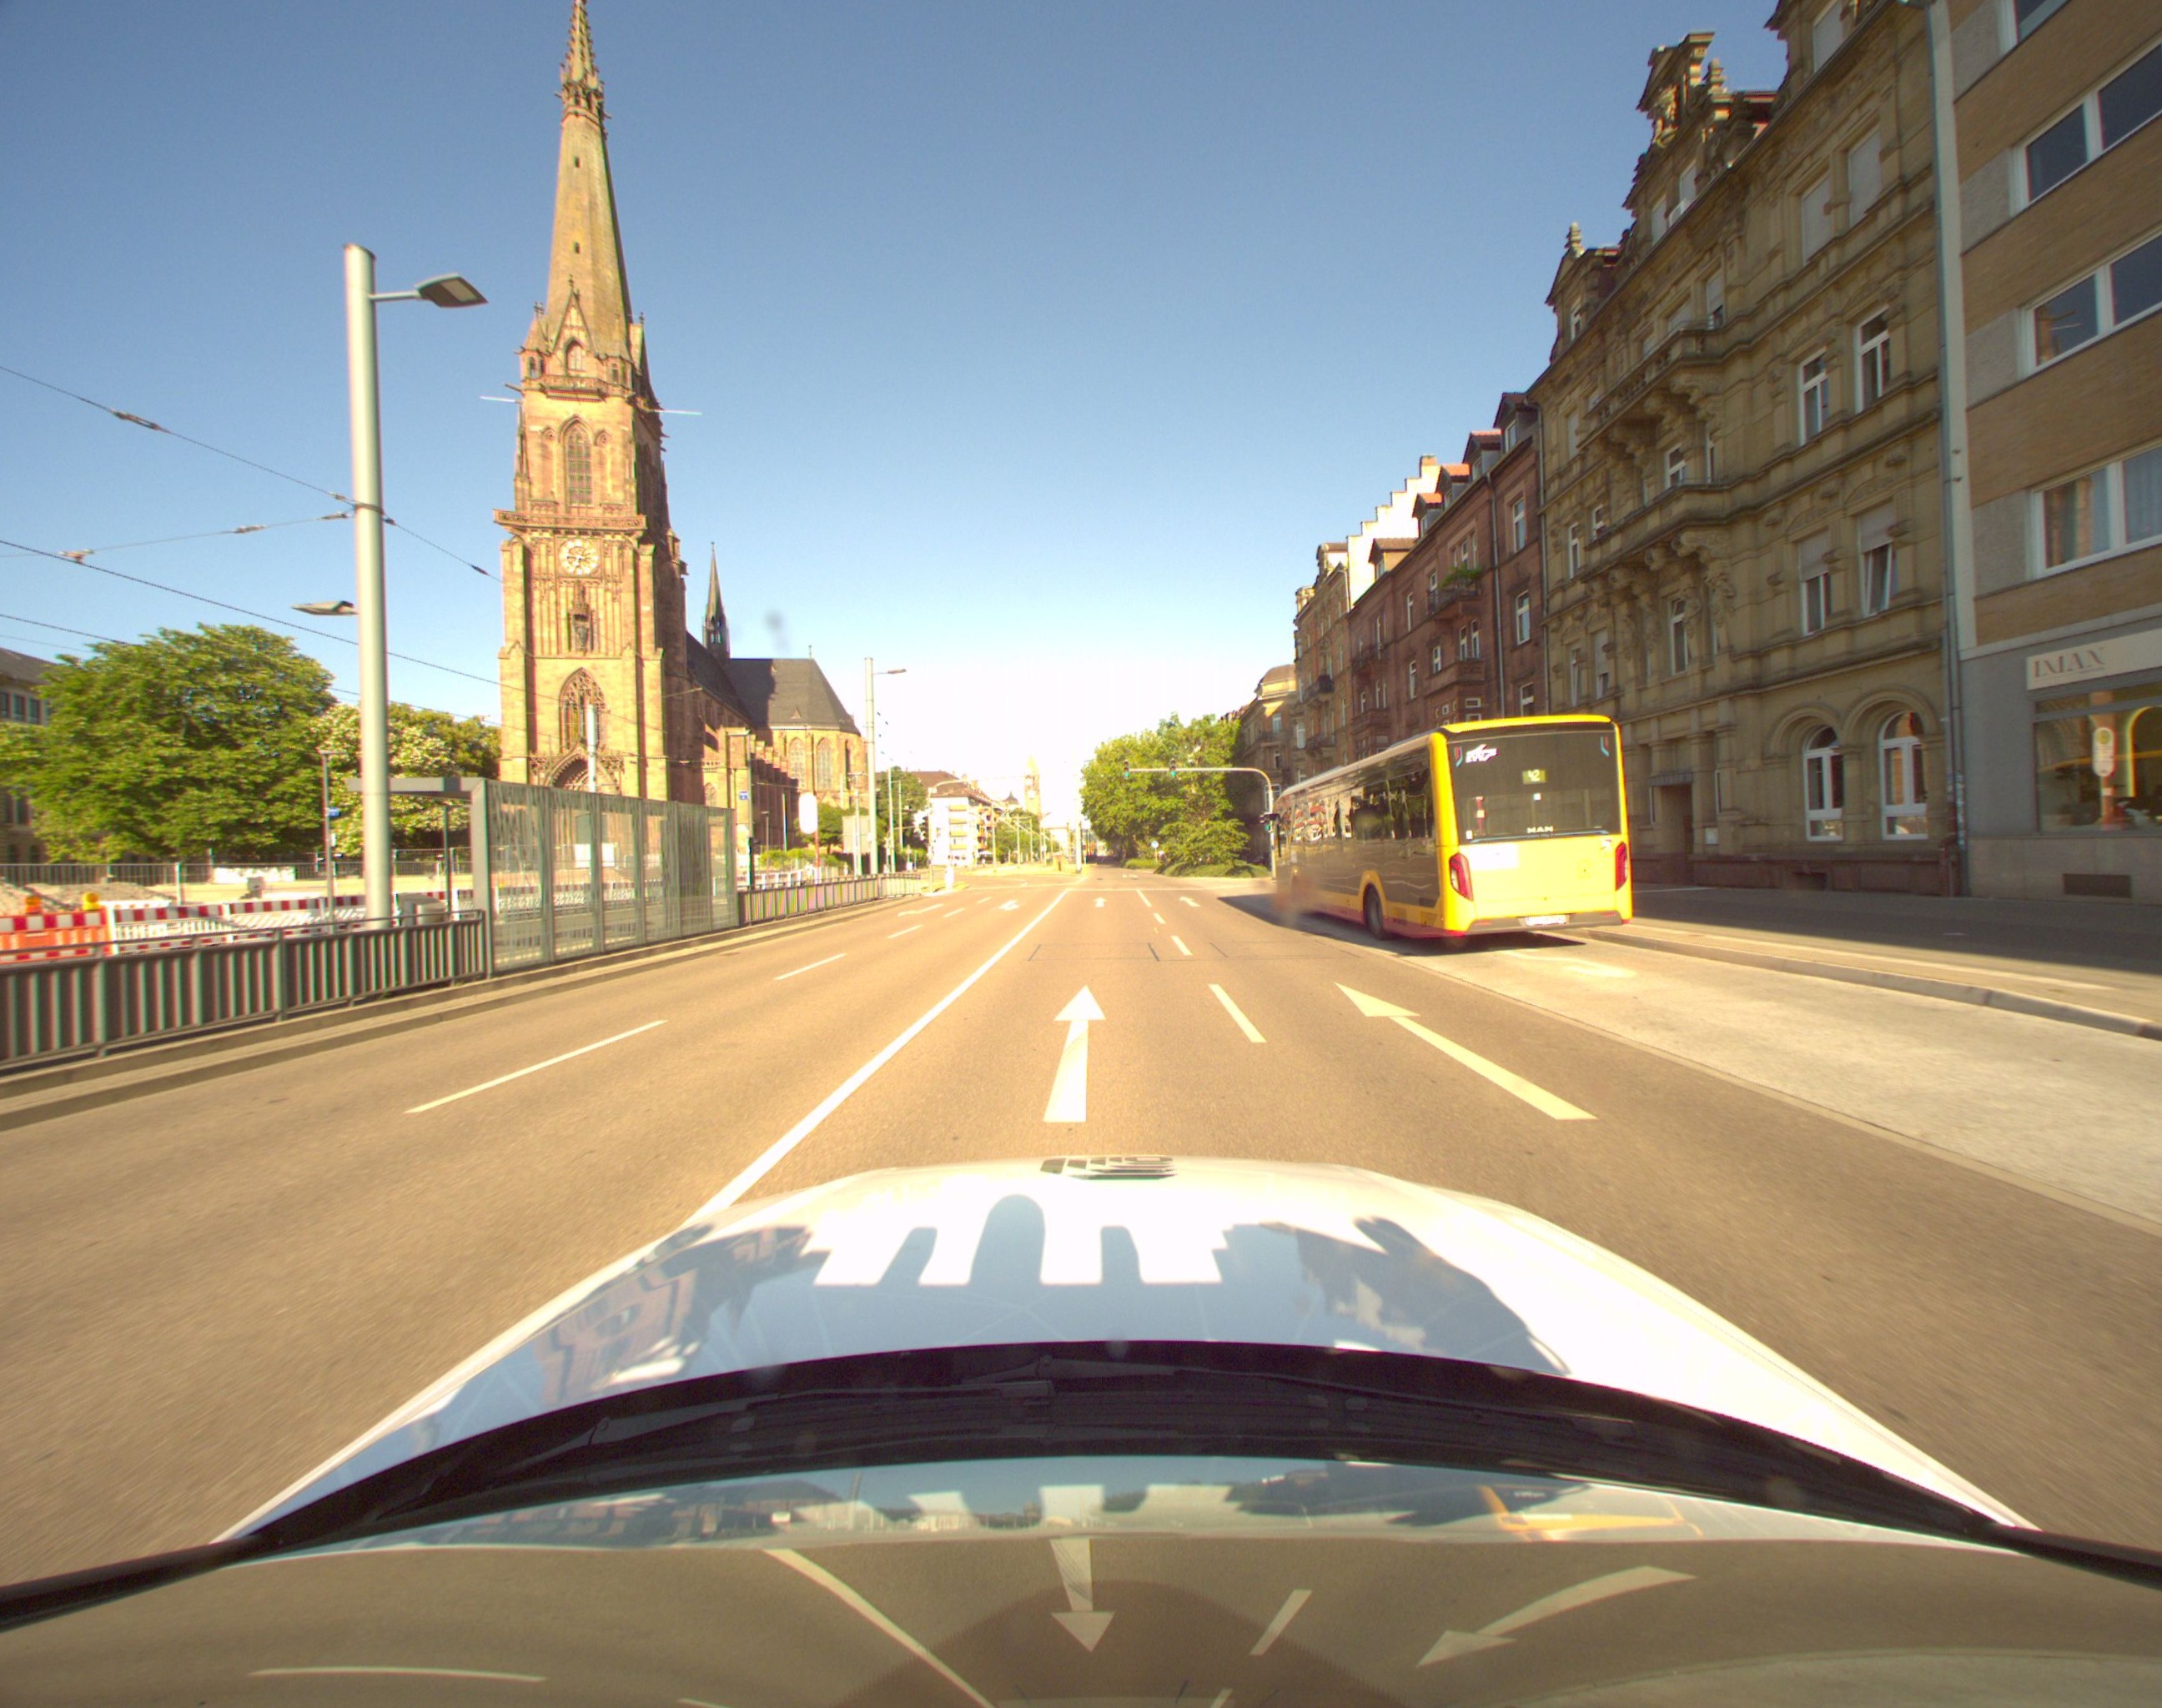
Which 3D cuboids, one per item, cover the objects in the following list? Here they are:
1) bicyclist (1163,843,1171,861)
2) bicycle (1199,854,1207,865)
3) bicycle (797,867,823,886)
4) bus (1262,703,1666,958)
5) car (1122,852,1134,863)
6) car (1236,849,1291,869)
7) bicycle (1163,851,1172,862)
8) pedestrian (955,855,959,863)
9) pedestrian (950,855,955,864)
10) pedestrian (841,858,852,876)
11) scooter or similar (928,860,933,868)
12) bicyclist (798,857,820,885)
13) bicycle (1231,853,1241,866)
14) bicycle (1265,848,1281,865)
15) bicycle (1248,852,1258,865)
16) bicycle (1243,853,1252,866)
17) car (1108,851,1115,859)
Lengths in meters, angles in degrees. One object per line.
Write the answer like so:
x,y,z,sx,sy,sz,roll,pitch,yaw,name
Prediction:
8.930,-0.211,84.487,0.639,1.815,1.052,-3,-1,1,bicyclist
11.942,0.537,79.653,0.523,0.988,1.722,-3,3,0,bicycle
-18.782,1.538,56.593,0.961,1.096,2.819,-7,2,-5,bicycle
6.399,-0.321,16.910,2.705,3.181,12.546,-3,0,2,bus
7.037,0.560,122.989,1.637,1.511,4.185,-3,0,2,car
15.279,0.394,68.380,4.235,1.415,1.814,-3,2,1,car
8.958,0.298,84.593,0.639,1.048,2.360,-3,-1,1,bicycle
-23.196,0.936,152.447,0.587,1.467,0.917,-3,2,2,pedestrian
-24.048,0.946,152.437,0.641,1.598,0.899,-3,2,2,pedestrian
-23.585,1.318,81.894,0.726,1.773,0.863,-3,2,-1,pedestrian
-26.193,1.743,141.826,0.400,1.261,1.231,-3,3,2,scooter or similar
-18.799,1.162,56.364,0.961,1.808,1.317,-7,2,-6,bicyclist
14.118,0.519,74.342,0.516,1.047,1.821,-3,3,1,bicycle
14.590,0.215,62.049,0.488,1.239,1.884,-3,-1,-7,bicycle
15.848,0.432,75.033,0.516,1.047,1.821,-3,3,1,bicycle
15.198,0.501,74.354,0.516,1.047,1.821,-3,3,1,bicycle
8.609,0.296,232.611,1.986,2.107,4.002,0,-1,2,car
